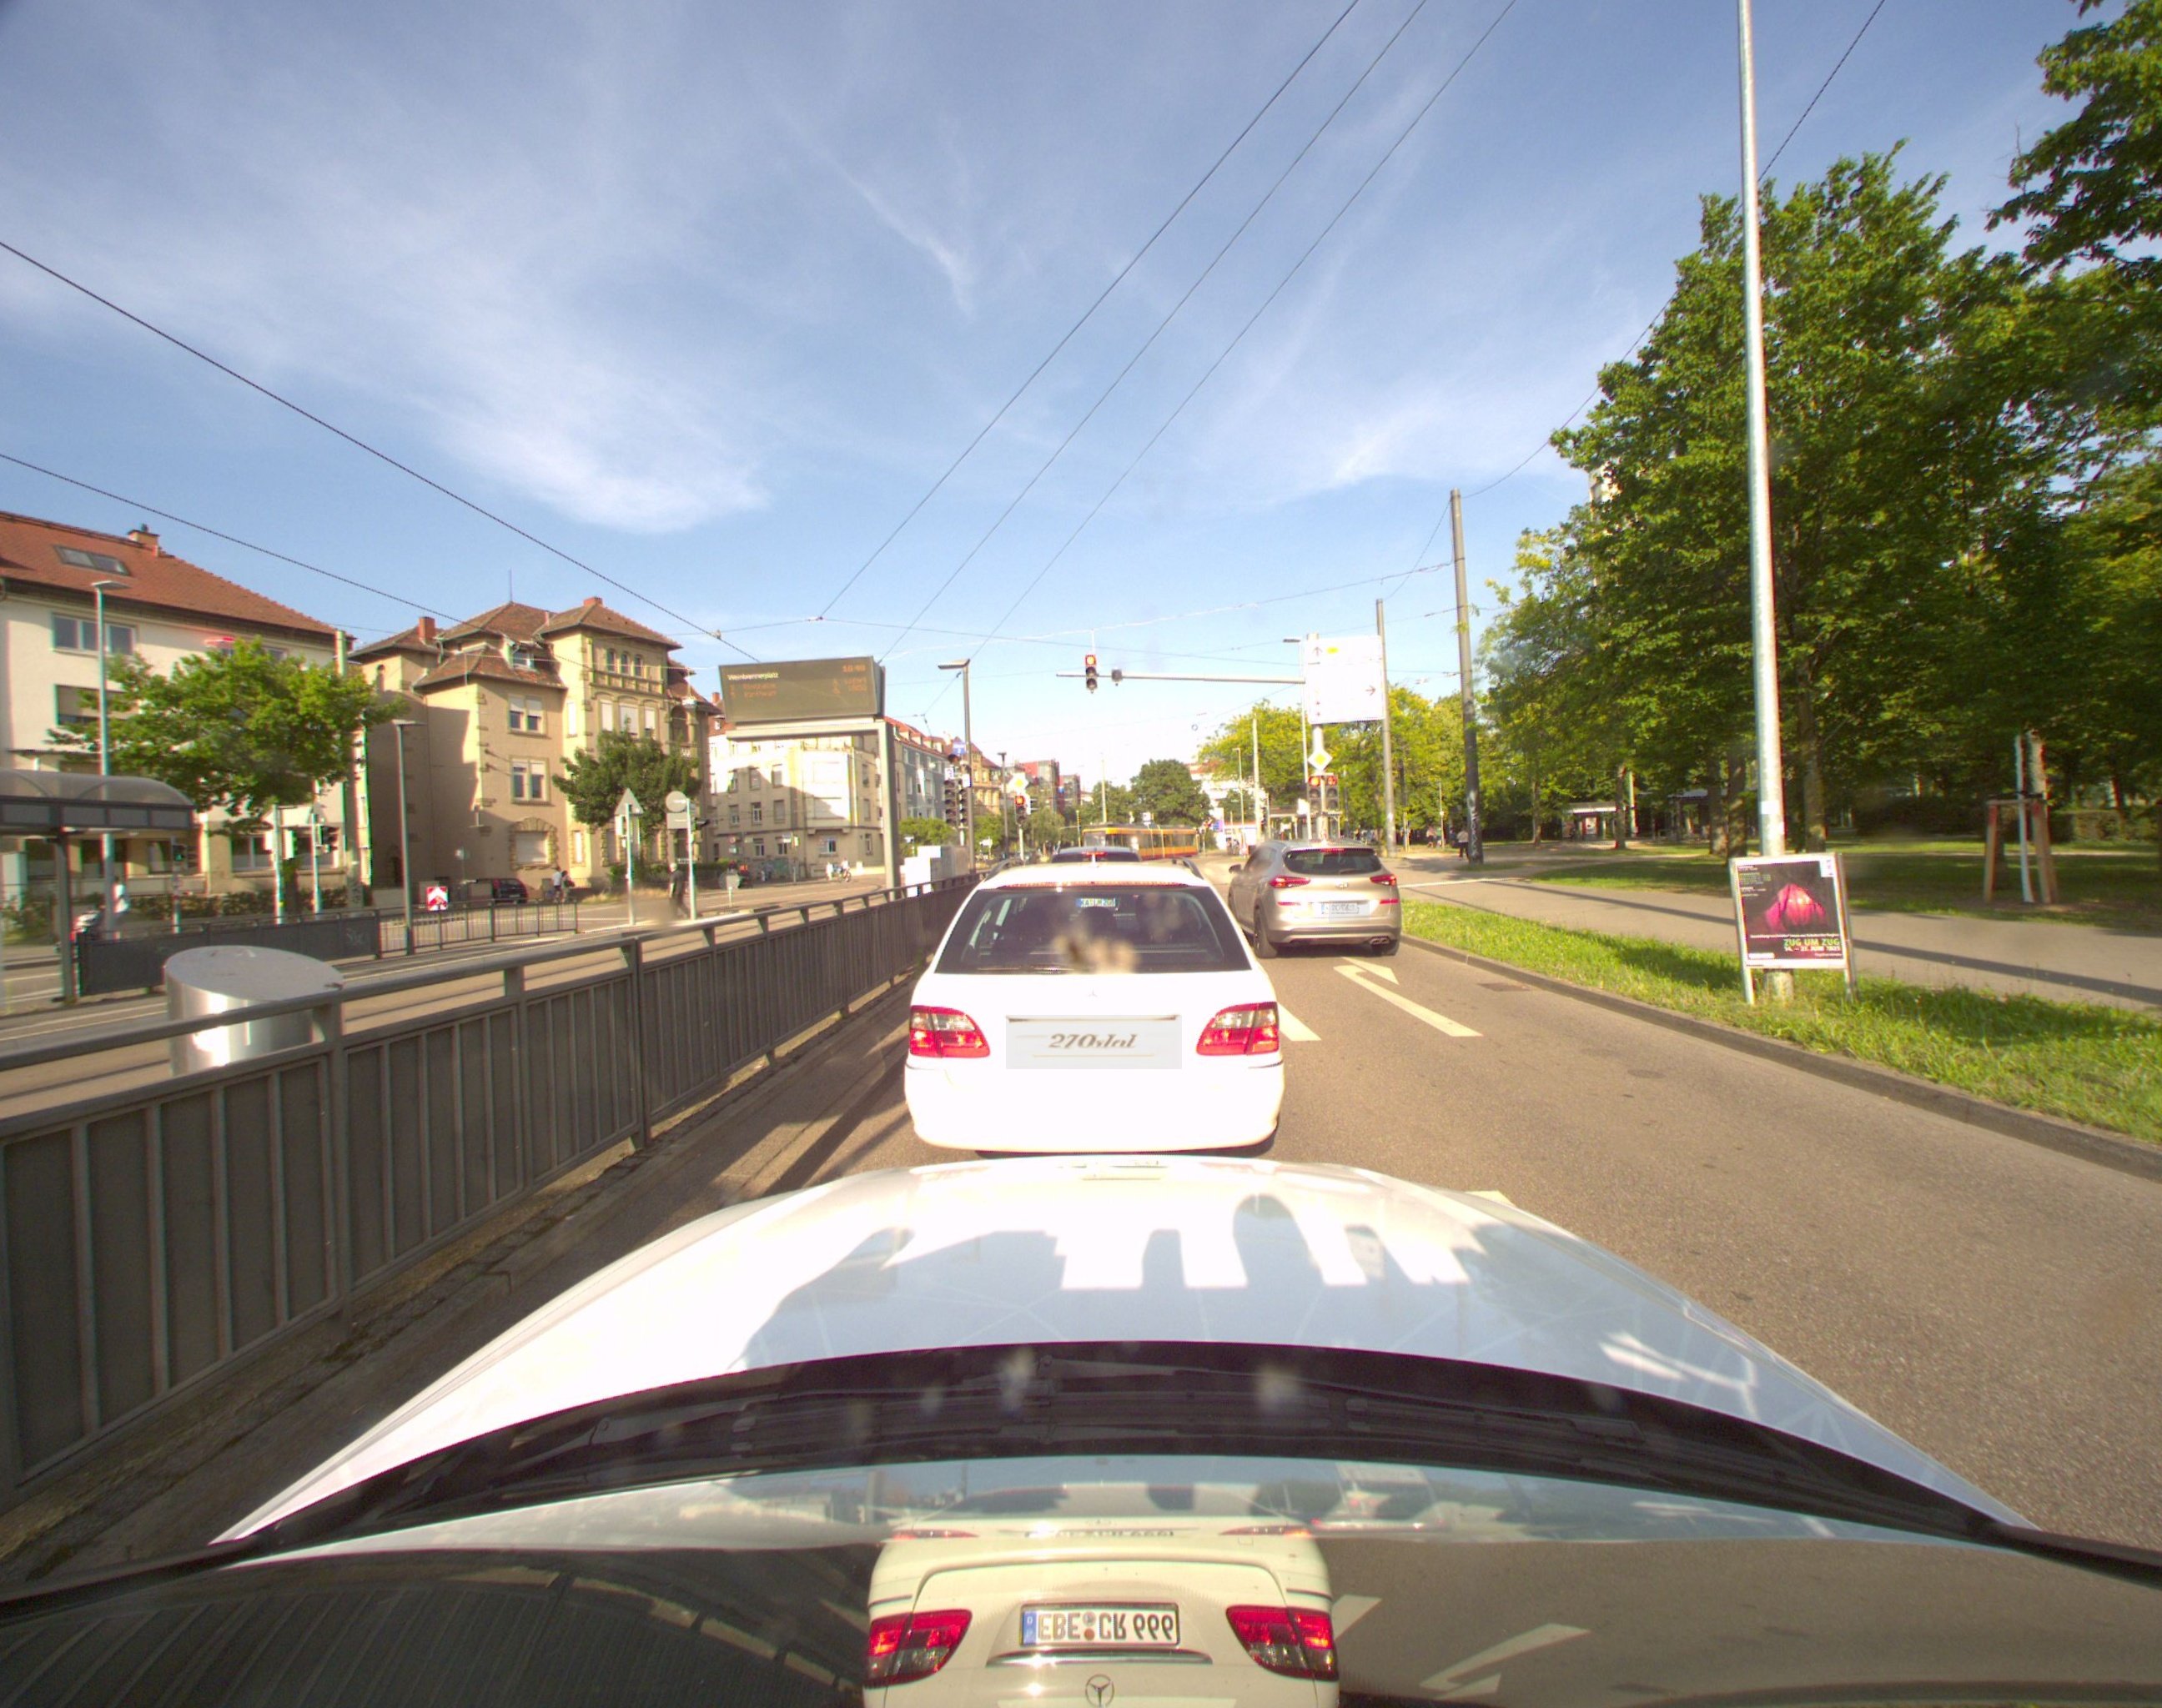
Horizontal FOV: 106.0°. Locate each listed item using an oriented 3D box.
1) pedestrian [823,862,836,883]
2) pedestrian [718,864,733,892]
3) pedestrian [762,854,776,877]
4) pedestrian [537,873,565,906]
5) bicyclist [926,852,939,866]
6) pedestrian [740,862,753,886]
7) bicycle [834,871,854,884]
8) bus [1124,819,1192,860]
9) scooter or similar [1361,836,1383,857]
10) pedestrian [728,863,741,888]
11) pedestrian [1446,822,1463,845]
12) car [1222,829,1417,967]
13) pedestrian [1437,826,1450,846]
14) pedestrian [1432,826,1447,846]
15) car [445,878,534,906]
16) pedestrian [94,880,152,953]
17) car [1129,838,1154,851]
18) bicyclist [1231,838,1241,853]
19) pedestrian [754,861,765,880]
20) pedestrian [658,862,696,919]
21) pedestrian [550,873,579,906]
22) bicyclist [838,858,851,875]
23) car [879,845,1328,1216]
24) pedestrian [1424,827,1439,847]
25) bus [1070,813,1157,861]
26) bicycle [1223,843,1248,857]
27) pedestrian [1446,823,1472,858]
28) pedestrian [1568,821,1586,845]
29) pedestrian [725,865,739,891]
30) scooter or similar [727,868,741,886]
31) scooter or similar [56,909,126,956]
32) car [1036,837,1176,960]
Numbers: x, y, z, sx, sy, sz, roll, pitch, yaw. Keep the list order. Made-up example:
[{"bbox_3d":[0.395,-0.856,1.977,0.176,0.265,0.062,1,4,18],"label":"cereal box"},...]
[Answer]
[{"bbox_3d":[-18.848,1.356,61.024,0.626,1.541,0.711,-3,0,1],"label":"pedestrian"},{"bbox_3d":[-21.459,1.452,49.187,0.506,1.626,0.609,-3,0,3],"label":"pedestrian"},{"bbox_3d":[-28.229,1.071,73.696,0.768,2.013,0.790,-3,0,17],"label":"pedestrian"},{"bbox_3d":[-26.068,1.740,40.077,0.822,1.552,0.786,-3,0,23],"label":"pedestrian"},{"bbox_3d":[-13.462,0.434,73.711,0.759,1.262,1.177,-3,0,9],"label":"bicyclist"},{"bbox_3d":[-20.684,1.240,50.366,0.530,1.500,0.391,-3,0,16],"label":"pedestrian"},{"bbox_3d":[-15.750,1.559,54.238,0.522,0.834,1.691,-3,0,10],"label":"bicycle"},{"bbox_3d":[7.844,-1.302,80.269,3.081,3.606,12.658,-1,0,22],"label":"bus"},{"bbox_3d":[16.150,-0.421,45.249,0.421,1.117,1.322,-3,0,-18],"label":"scooter or similar"},{"bbox_3d":[-20.864,1.294,49.057,0.434,1.500,0.551,-3,0,16],"label":"pedestrian"},{"bbox_3d":[29.116,-1.583,63.481,0.797,1.785,0.838,-3,0,-2],"label":"pedestrian"},{"bbox_3d":[3.333,0.546,12.141,1.878,1.651,3.649,-3,0,2],"label":"car"},{"bbox_3d":[27.765,-1.407,62.356,0.805,1.487,0.705,-3,0,26],"label":"pedestrian"},{"bbox_3d":[28.100,-1.429,63.861,0.813,1.487,0.698,-3,0,-9],"label":"pedestrian"},{"bbox_3d":[-29.455,1.853,40.546,4.066,1.310,1.774,-1,0,24],"label":"car"},{"bbox_3d":[-23.963,1.541,20.381,0.548,1.746,0.759,-3,0,-16],"label":"pedestrian"},{"bbox_3d":[9.967,-1.609,134.593,3.973,2.014,2.000,-1,-1,0],"label":"car"},{"bbox_3d":[15.736,-0.900,82.583,0.856,1.481,0.791,-3,0,8],"label":"bicyclist"},{"bbox_3d":[-28.721,1.507,72.794,0.615,1.660,0.589,-3,0,17],"label":"pedestrian"},{"bbox_3d":[-12.096,1.086,24.387,0.798,1.645,0.748,-3,0,-42],"label":"pedestrian"},{"bbox_3d":[-25.218,1.711,39.774,0.822,1.552,0.786,-3,0,23],"label":"pedestrian"},{"bbox_3d":[-15.771,0.832,54.275,0.509,1.044,0.681,-3,0,10],"label":"bicyclist"},{"bbox_3d":[0.147,0.709,5.122,1.789,1.470,3.649,-1,0,2],"label":"car"},{"bbox_3d":[27.252,-1.346,63.273,0.820,1.487,0.692,-3,0,-40],"label":"pedestrian"},{"bbox_3d":[3.010,-1.278,68.686,3.081,3.606,12.442,-1,0,23],"label":"bus"},{"bbox_3d":[15.652,-0.413,82.601,2.467,1.213,0.809,-3,0,9],"label":"bicycle"},{"bbox_3d":[18.221,-0.627,39.262,0.758,1.636,0.800,-3,0,-38],"label":"pedestrian"},{"bbox_3d":[35.849,-1.518,58.846,0.831,1.636,0.804,-3,0,8],"label":"pedestrian"},{"bbox_3d":[-20.737,1.437,48.345,0.434,1.500,0.551,-3,0,16],"label":"pedestrian"},{"bbox_3d":[-21.240,1.405,49.878,0.541,1.079,0.683,-1,-1,1],"label":"scooter or similar"},{"bbox_3d":[-23.705,1.868,19.519,0.557,0.988,1.017,-3,0,-17],"label":"scooter or similar"},{"bbox_3d":[0.404,0.596,12.824,1.878,1.651,3.649,0,0,2],"label":"car"}]
